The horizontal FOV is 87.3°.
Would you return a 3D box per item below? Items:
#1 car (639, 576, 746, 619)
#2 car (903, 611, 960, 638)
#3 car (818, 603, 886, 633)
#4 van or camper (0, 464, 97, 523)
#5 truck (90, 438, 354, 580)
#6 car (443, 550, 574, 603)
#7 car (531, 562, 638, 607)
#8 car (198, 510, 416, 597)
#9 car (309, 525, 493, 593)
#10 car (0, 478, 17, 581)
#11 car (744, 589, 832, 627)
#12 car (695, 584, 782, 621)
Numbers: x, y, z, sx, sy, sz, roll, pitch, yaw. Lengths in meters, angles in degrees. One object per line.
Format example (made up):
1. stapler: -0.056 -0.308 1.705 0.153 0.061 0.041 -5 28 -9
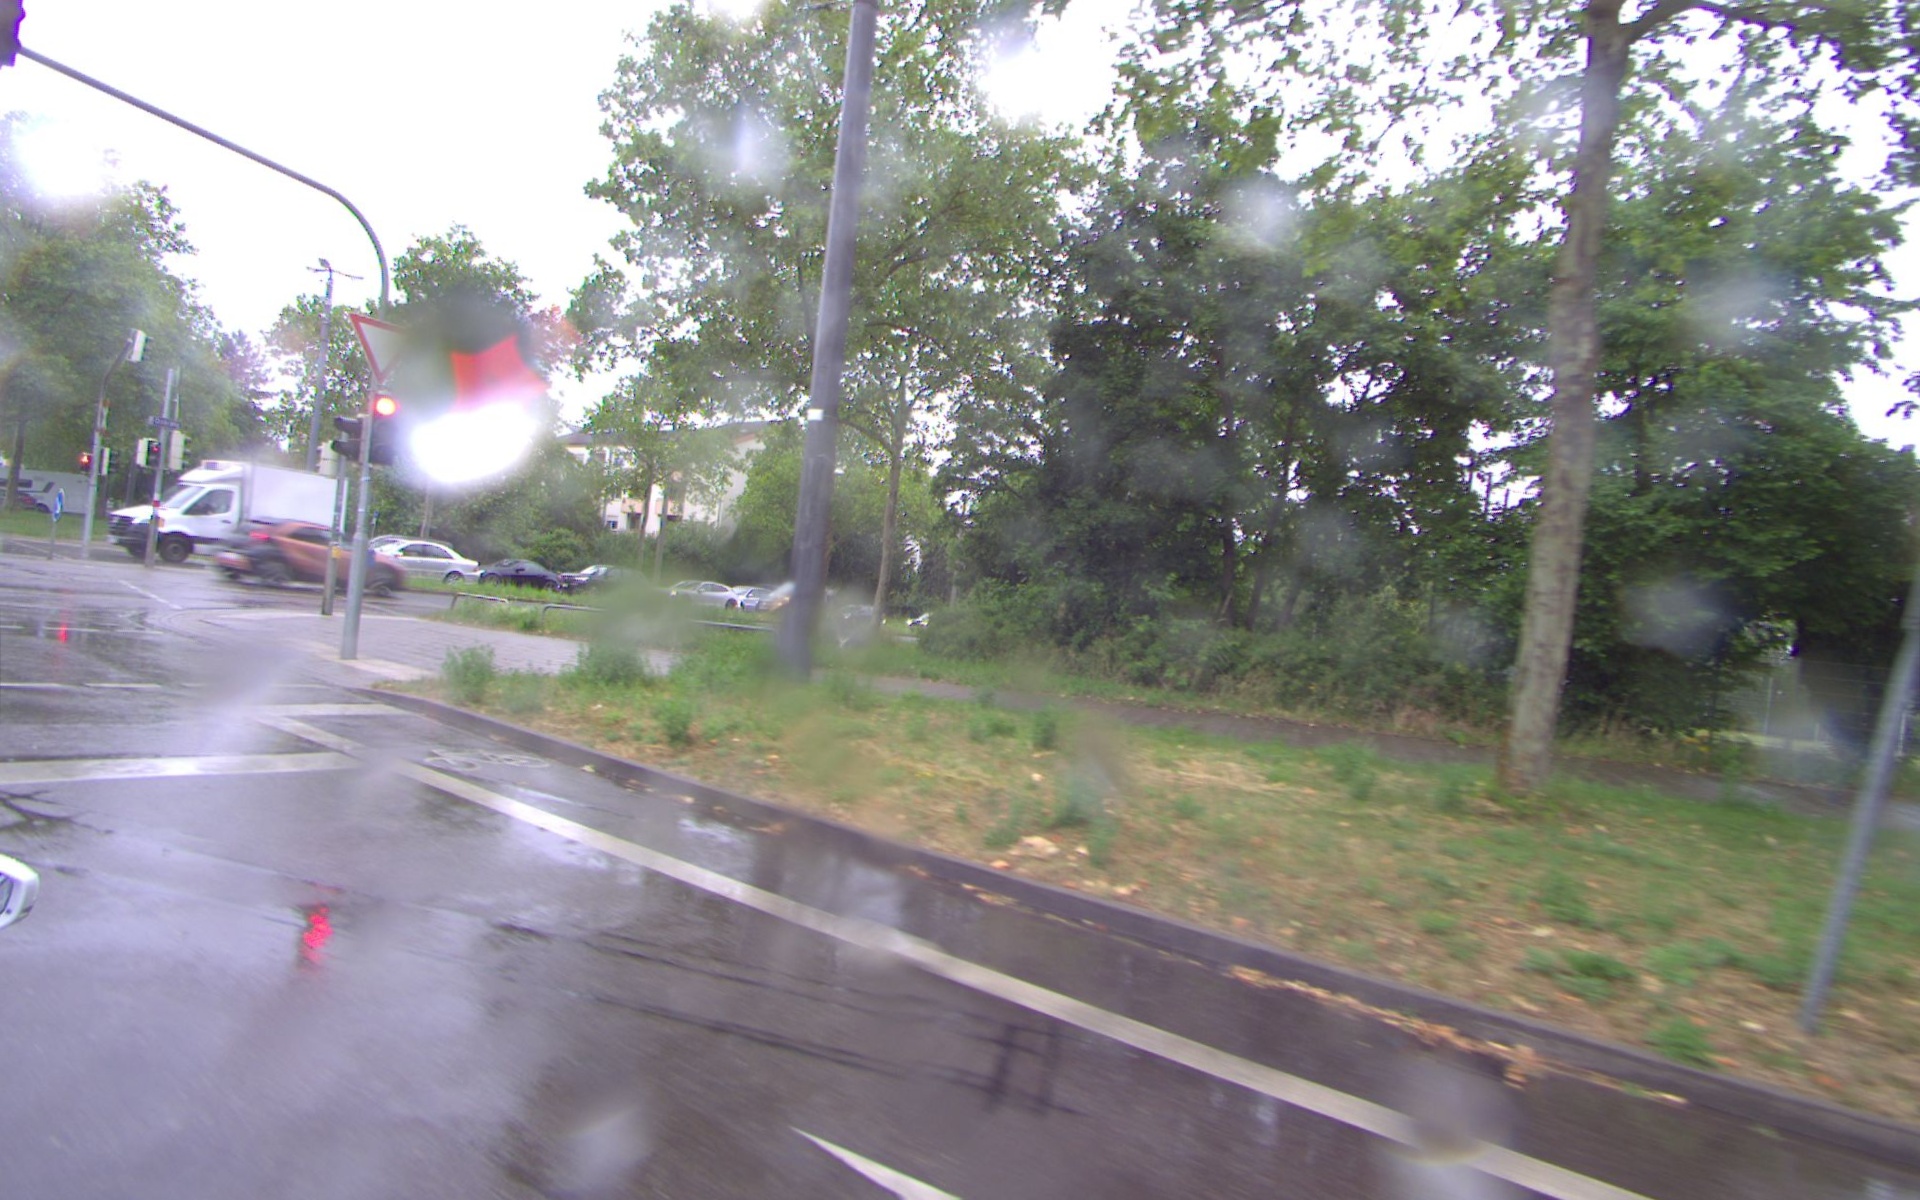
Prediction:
1. car: -11.859 -0.082 44.904 1.735 1.439 4.670 7 -1 29
2. car: -1.924 1.725 69.190 1.735 1.439 4.671 7 -1 28
3. car: -6.624 1.161 62.415 1.735 1.439 4.671 7 -1 28
4. van or camper: -56.965 -6.624 62.178 5.204 2.728 2.217 10 -2 -41
5. truck: -20.639 -2.442 28.470 1.947 3.095 5.479 7 -1 29
6. car: -16.363 -0.822 36.664 1.616 1.406 4.118 7 -1 29
7. car: -16.414 -0.657 44.162 1.735 1.439 4.129 7 -1 29
8. car: -14.848 -1.007 23.087 1.623 1.517 3.826 7 0 26
9. car: -16.451 -1.153 29.878 1.616 1.406 4.521 7 -1 29
10. car: -15.835 -1.235 13.640 1.622 1.517 4.075 7 0 25
11. car: -8.629 0.455 50.826 1.735 1.439 4.670 7 -1 29
12. car: -11.485 0.139 52.506 1.735 1.439 4.671 7 -1 28
